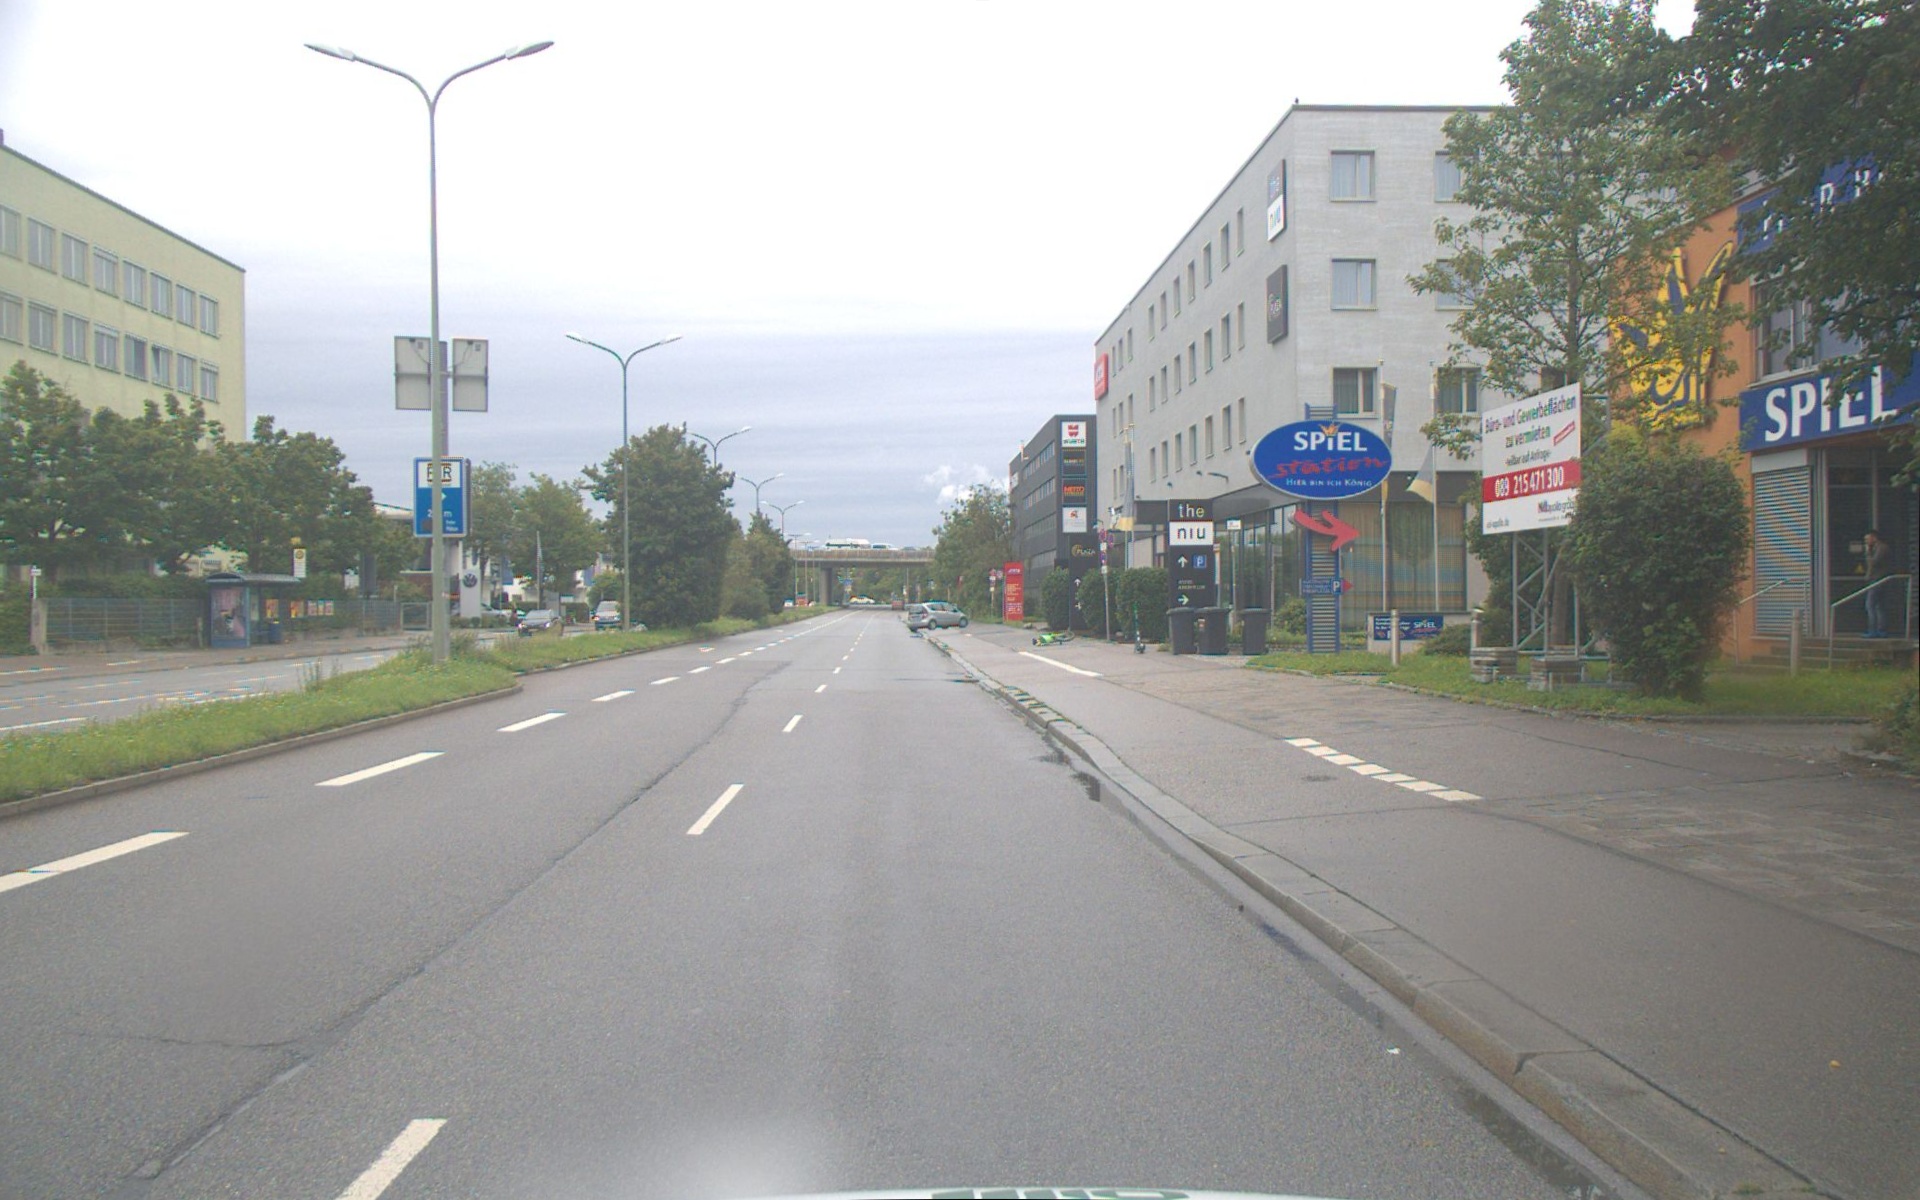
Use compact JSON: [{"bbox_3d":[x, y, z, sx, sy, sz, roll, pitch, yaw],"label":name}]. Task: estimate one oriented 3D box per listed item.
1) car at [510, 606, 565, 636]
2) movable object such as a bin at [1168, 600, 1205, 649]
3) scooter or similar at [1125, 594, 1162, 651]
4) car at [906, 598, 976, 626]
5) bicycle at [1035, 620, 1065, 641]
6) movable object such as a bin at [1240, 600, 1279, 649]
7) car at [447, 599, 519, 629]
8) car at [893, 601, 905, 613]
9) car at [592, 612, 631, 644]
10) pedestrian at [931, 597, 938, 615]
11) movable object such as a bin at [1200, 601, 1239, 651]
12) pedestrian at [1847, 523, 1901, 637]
[{"bbox_3d":[-22.390,1.101,87.782,1.954,1.426,4.651,-2,0,-4],"label":"car"},{"bbox_3d":[5.261,0.564,38.441,0.722,1.097,0.655,-2,0,-2],"label":"movable object such as a bin"},{"bbox_3d":[4.470,0.542,40.441,0.574,1.299,1.403,-5,0,-2],"label":"scooter or similar"},{"bbox_3d":[-1.082,0.688,95.890,1.790,1.585,3.997,0,0,45],"label":"car"},{"bbox_3d":[2.777,0.941,50.918,0.705,0.558,1.731,-4,0,-3],"label":"bicycle"},{"bbox_3d":[6.869,0.554,37.900,0.722,1.097,0.655,-2,0,-2],"label":"movable object such as a bin"},{"bbox_3d":[-33.158,0.972,114.997,4.575,1.874,1.786,-2,0,-26],"label":"car"},{"bbox_3d":[-8.843,1.012,240.738,1.701,1.575,4.301,0,0,-3],"label":"car"},{"bbox_3d":[-23.770,1.895,113.079,1.954,1.995,4.321,-2,0,-4],"label":"car"},{"bbox_3d":[-2.726,0.661,178.314,0.675,1.909,0.662,-2,0,-3],"label":"pedestrian"},{"bbox_3d":[5.910,0.595,37.700,0.722,1.097,0.655,-2,0,-2],"label":"movable object such as a bin"},{"bbox_3d":[14.211,-0.310,25.714,0.646,1.742,0.661,-2,0,33],"label":"pedestrian"}]
